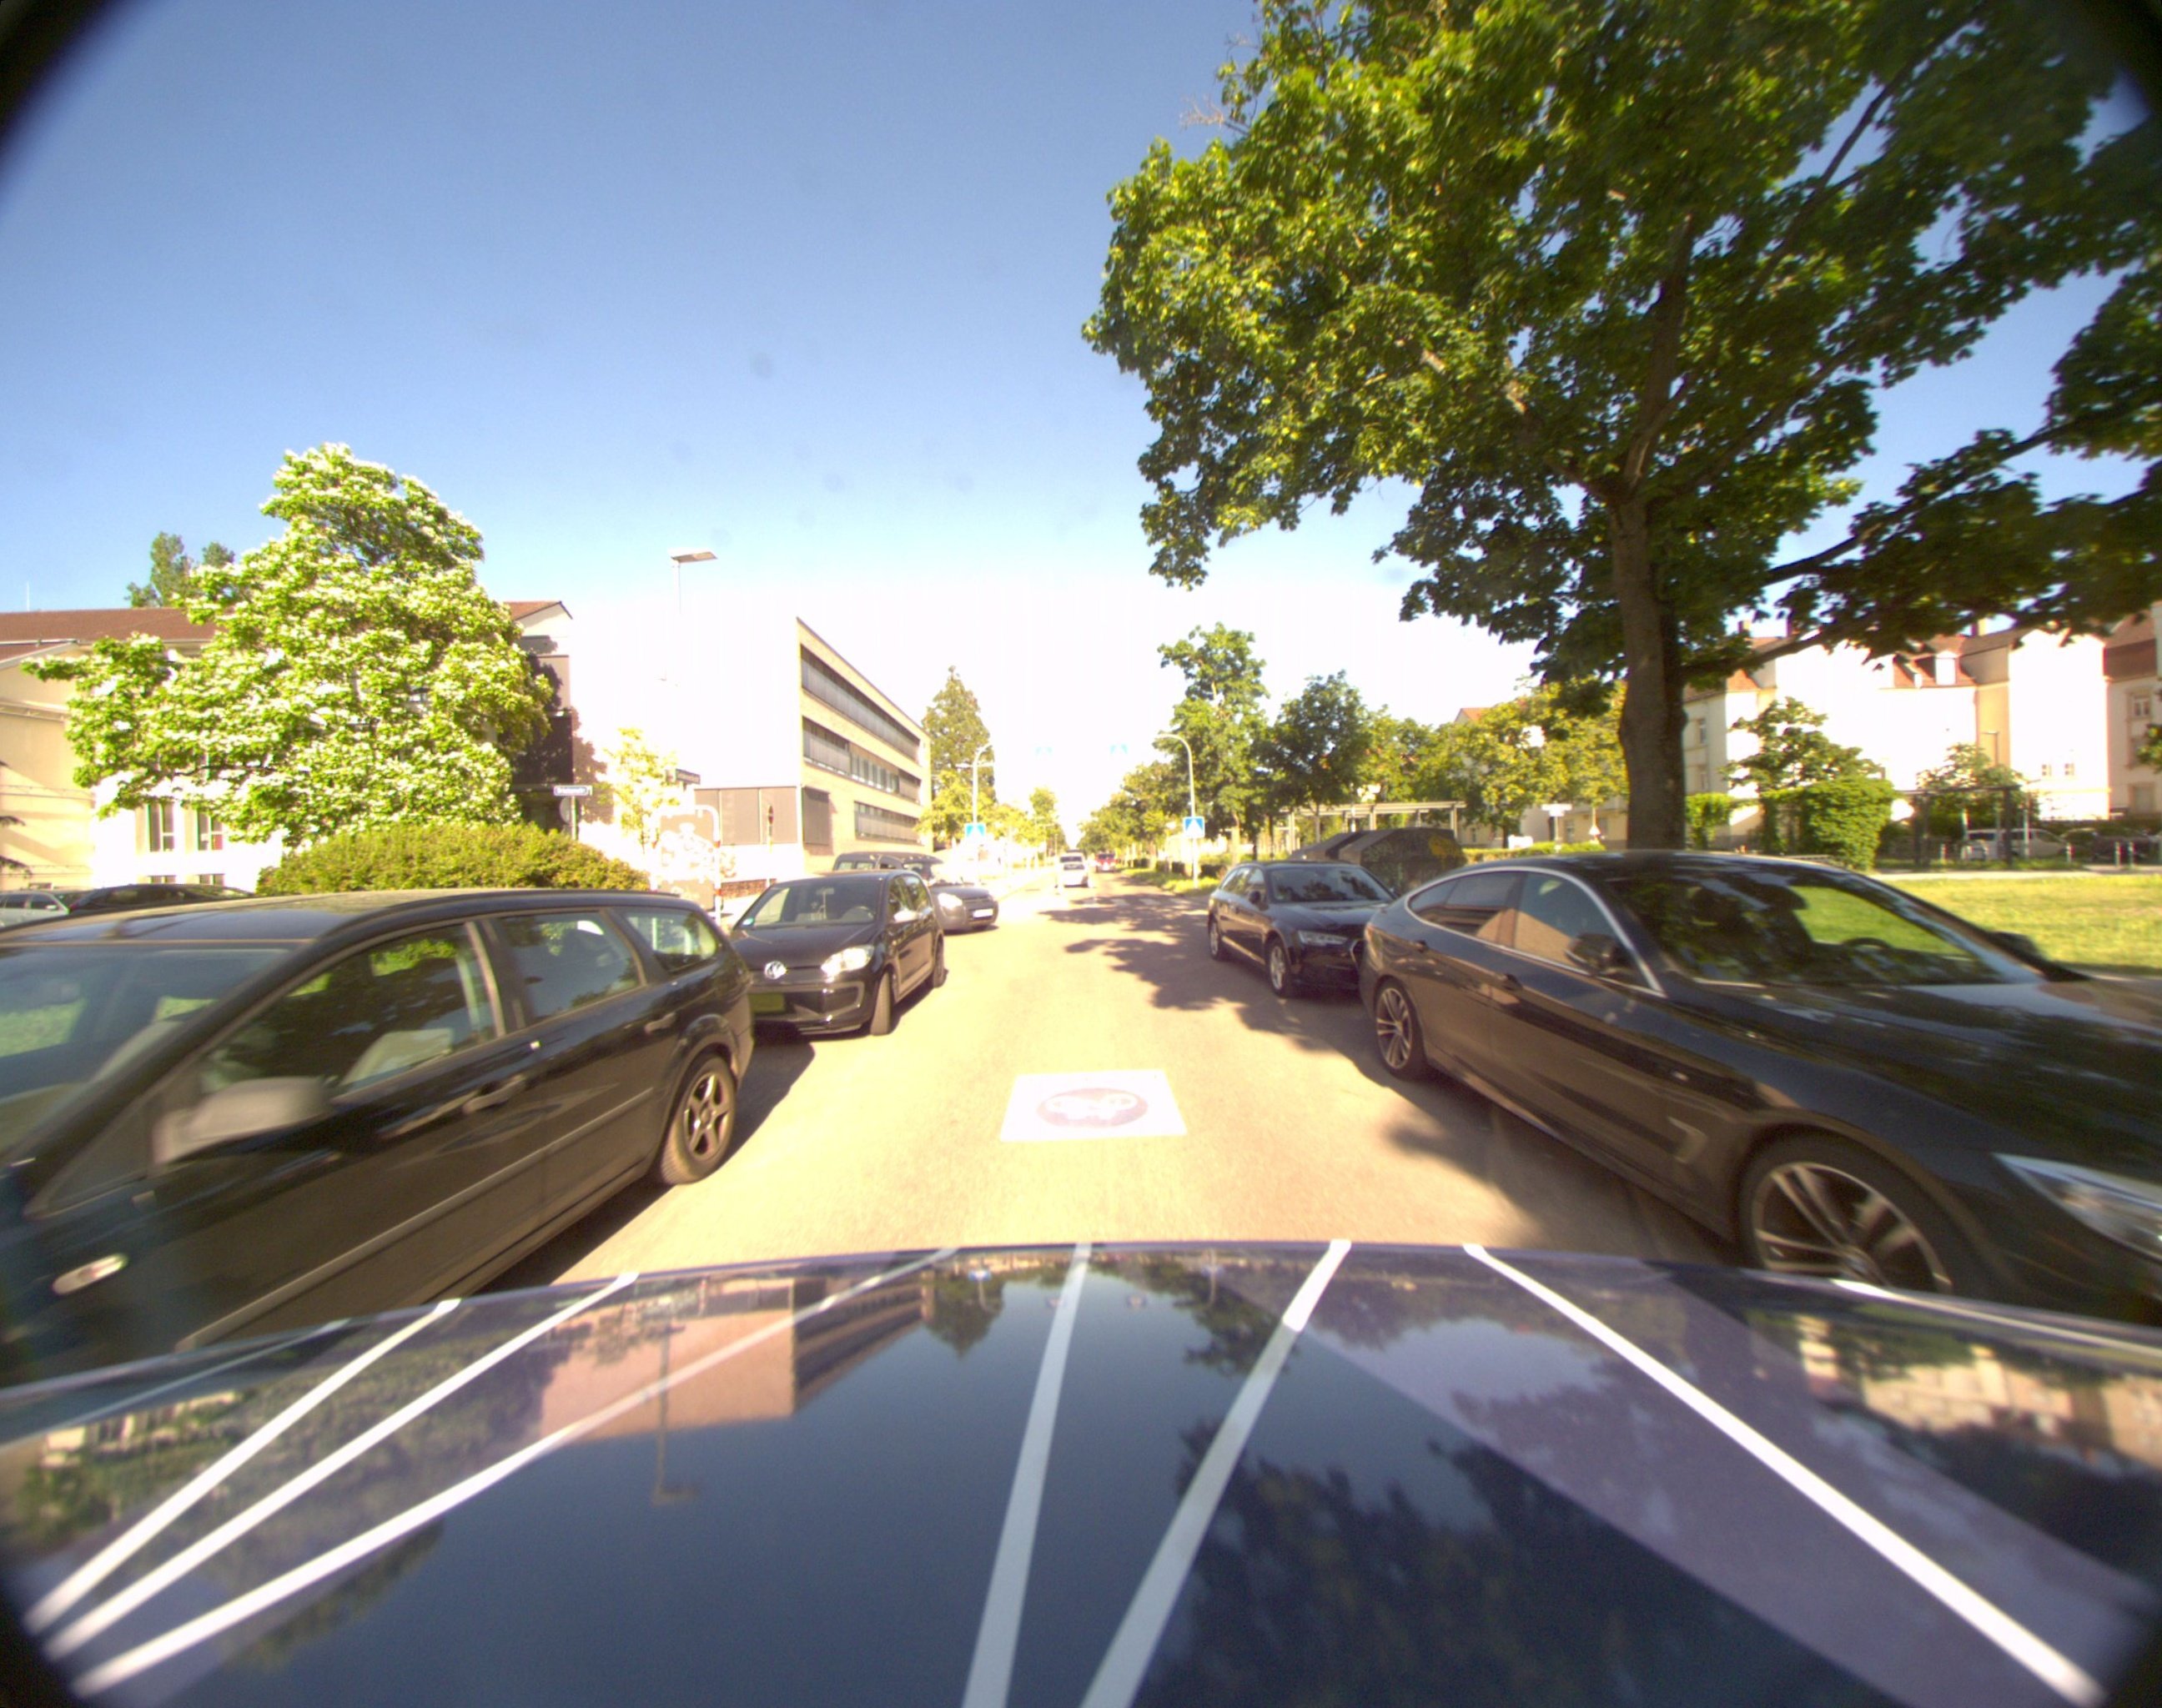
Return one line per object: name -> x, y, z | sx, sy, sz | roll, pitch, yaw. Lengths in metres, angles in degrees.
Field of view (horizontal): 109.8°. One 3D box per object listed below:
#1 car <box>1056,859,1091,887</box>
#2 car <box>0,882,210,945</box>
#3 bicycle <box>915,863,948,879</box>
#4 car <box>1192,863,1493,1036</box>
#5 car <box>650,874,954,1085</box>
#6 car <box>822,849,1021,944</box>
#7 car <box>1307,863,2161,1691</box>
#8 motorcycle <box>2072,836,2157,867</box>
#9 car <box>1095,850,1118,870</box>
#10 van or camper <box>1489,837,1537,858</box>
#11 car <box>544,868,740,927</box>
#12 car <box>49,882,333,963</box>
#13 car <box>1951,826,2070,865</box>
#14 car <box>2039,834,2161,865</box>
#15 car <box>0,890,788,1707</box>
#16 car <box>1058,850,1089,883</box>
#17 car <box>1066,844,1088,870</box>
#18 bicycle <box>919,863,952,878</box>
car -> -0.354, 0.956, 40.189 | 1.652, 1.324, 4.934 | -2, 0, 1
car -> -28.379, 1.681, 21.927 | 4.159, 1.473, 1.899 | -1, 4, 0
bicycle -> -10.162, 1.140, 51.691 | 2.030, 1.057, 0.883 | 1, 0, -1
car -> 2.745, 0.896, 9.377 | 1.840, 1.444, 4.967 | -1, 0, -2
car -> -2.508, 1.037, 7.871 | 1.663, 1.465, 3.792 | -3, 0, 0
car -> -3.503, 0.844, 16.427 | 4.145, 1.779, 1.908 | -2, 0, 37
car -> 2.950, 0.830, 3.647 | 1.999, 1.507, 5.157 | 0, 0, -3
motorcycle -> 45.734, -0.092, 33.675 | 0.818, 1.297, 2.144 | -2, 0, -2
car -> 2.541, 0.583, 75.140 | 2.021, 1.867, 4.741 | -2, 0, 4
van or camper -> 42.443, -0.660, 74.795 | 2.273, 2.002, 4.373 | -2, 1, 0
car -> -12.711, 1.227, 22.240 | 4.558, 1.466, 1.906 | -2, 1, -2
car -> -19.476, 1.466, 16.776 | 3.981, 1.502, 1.823 | -2, 0, -2
car -> 49.939, -0.442, 40.904 | 3.812, 1.944, 2.043 | -2, 0, 2
car -> 54.583, -0.217, 40.733 | 3.812, 1.510, 2.043 | -2, 0, 2
car -> -2.757, 1.011, 2.397 | 1.774, 1.520, 4.557 | -2, 0, 1
car -> -0.418, 0.722, 47.609 | 1.788, 1.899, 4.627 | -2, 0, 1
car -> -0.348, 0.319, 81.070 | 2.074, 2.583, 6.203 | -2, 0, 1
bicycle -> -10.120, 1.146, 52.979 | 2.084, 1.058, 0.860 | 1, 1, 0
